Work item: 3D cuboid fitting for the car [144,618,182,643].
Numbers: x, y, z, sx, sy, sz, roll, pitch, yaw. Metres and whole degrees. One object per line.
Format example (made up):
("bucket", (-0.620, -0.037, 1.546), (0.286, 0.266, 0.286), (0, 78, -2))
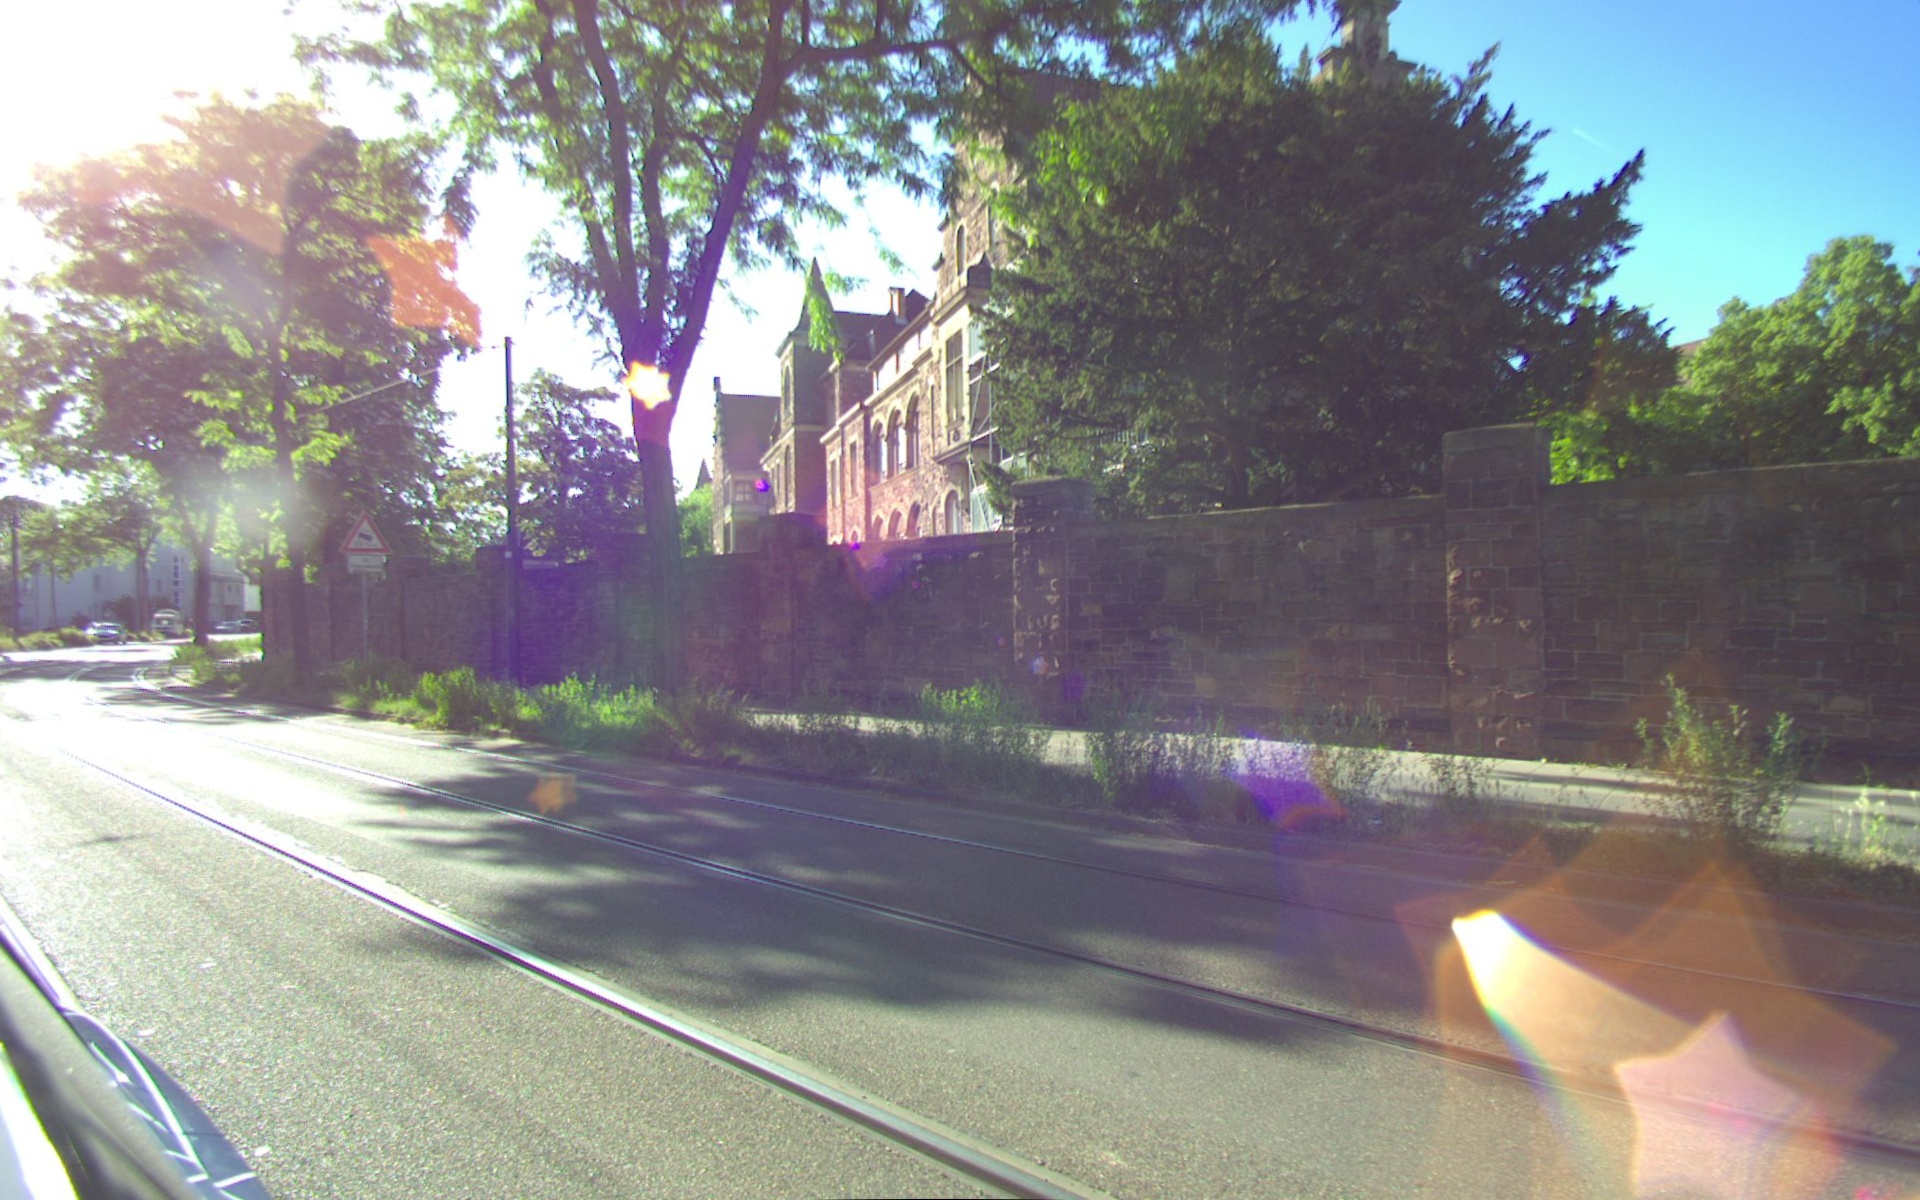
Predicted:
("car", (-69.561, 2.672, 88.373), (1.966, 2.111, 4.730), (0, -1, -30))

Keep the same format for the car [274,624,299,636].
("car", (-91.466, 4.052, 137.500), (1.849, 1.530, 4.664), (-1, -1, -21))

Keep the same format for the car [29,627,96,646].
("car", (-82.264, 3.357, 92.799), (2.010, 1.501, 4.399), (3, 2, 43))

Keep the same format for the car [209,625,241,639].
("car", (-83.856, 3.643, 115.502), (1.714, 1.507, 4.544), (-1, -1, -19))

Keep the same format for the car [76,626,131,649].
("car", (-60.947, 2.637, 72.129), (1.973, 1.476, 5.449), (4, -3, -30))
